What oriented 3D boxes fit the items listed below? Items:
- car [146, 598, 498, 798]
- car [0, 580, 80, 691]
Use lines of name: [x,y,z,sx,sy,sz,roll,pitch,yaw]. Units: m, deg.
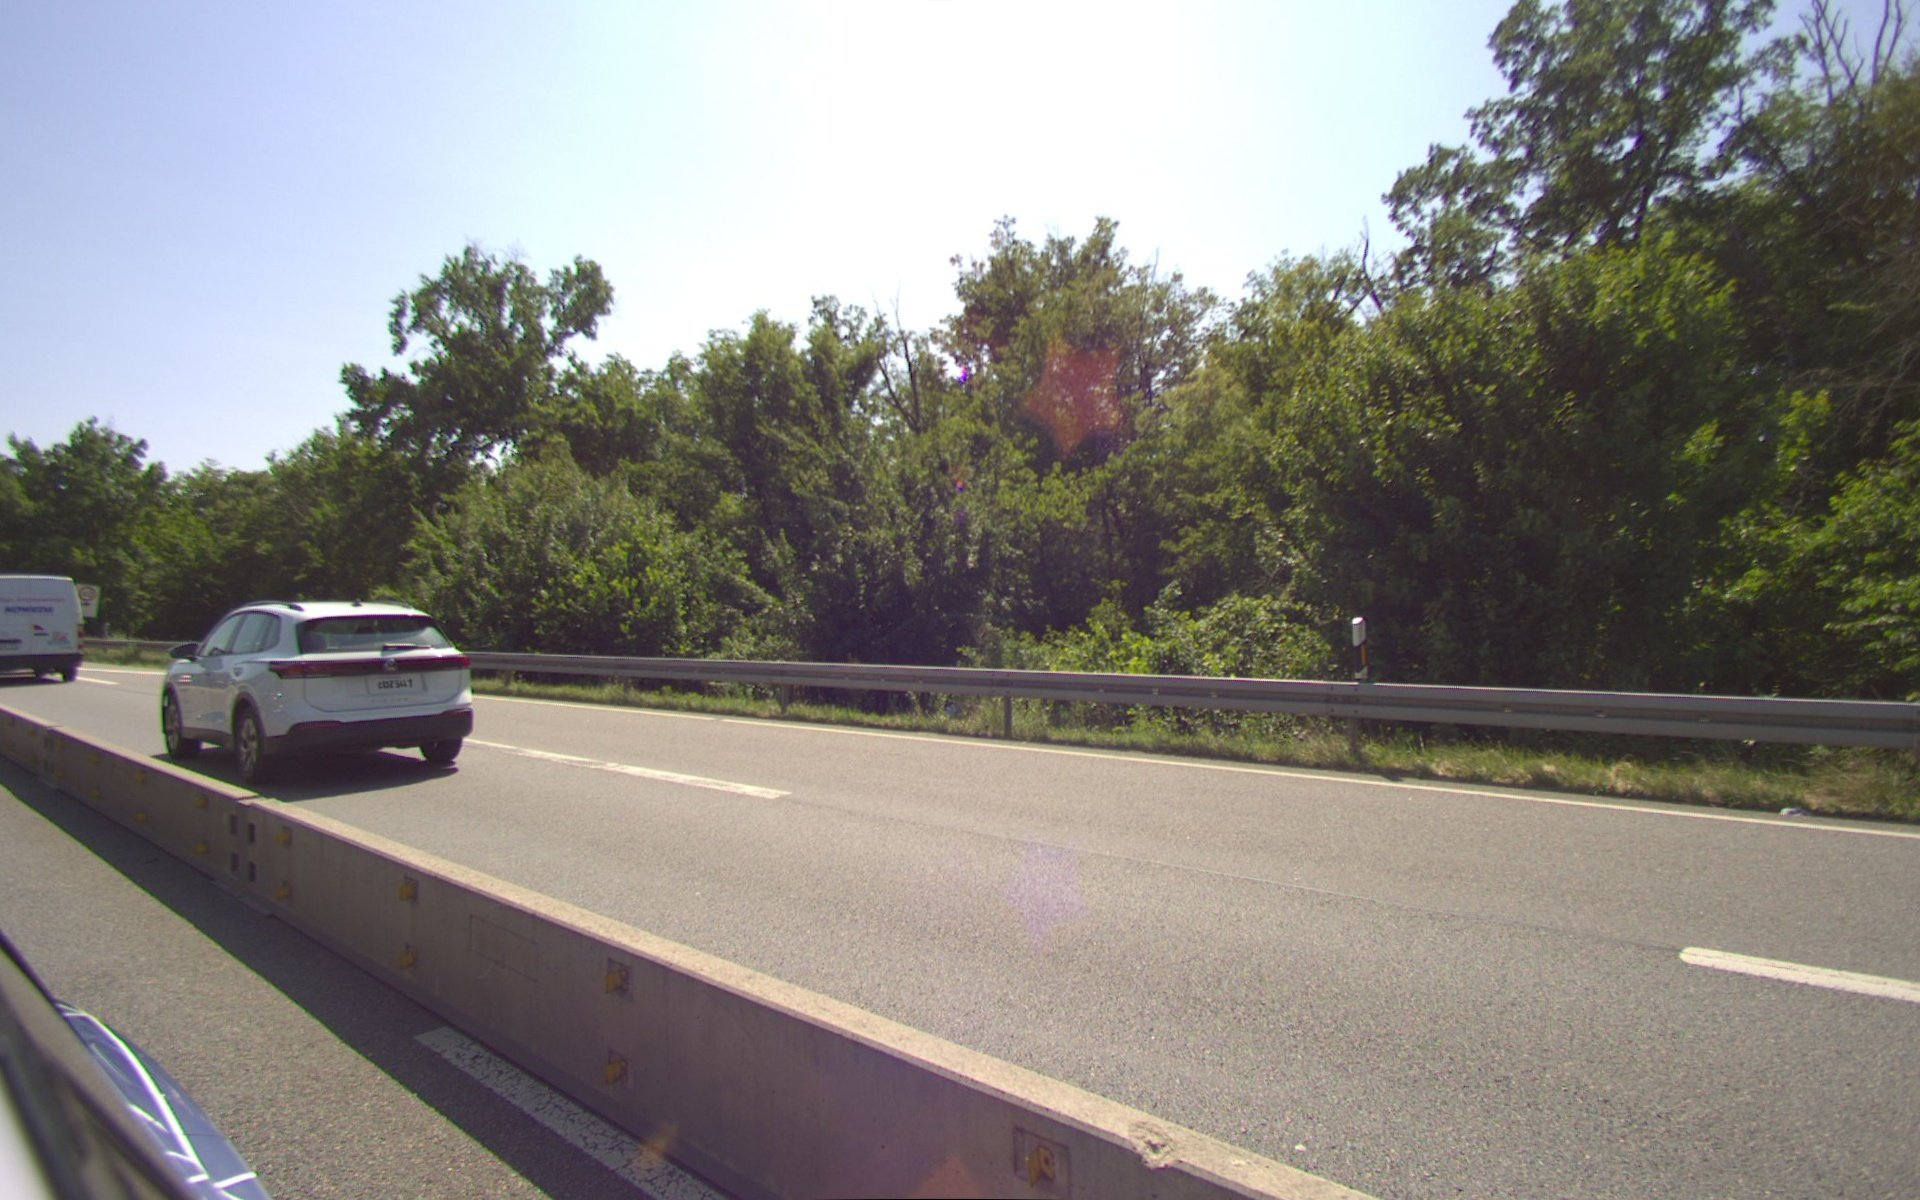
car: [-6.609,0.831,10.292,4.319,1.613,1.830,-1,-1,40]
car: [-23.729,0.860,25.093,5.555,2.504,2.041,-2,-1,40]
